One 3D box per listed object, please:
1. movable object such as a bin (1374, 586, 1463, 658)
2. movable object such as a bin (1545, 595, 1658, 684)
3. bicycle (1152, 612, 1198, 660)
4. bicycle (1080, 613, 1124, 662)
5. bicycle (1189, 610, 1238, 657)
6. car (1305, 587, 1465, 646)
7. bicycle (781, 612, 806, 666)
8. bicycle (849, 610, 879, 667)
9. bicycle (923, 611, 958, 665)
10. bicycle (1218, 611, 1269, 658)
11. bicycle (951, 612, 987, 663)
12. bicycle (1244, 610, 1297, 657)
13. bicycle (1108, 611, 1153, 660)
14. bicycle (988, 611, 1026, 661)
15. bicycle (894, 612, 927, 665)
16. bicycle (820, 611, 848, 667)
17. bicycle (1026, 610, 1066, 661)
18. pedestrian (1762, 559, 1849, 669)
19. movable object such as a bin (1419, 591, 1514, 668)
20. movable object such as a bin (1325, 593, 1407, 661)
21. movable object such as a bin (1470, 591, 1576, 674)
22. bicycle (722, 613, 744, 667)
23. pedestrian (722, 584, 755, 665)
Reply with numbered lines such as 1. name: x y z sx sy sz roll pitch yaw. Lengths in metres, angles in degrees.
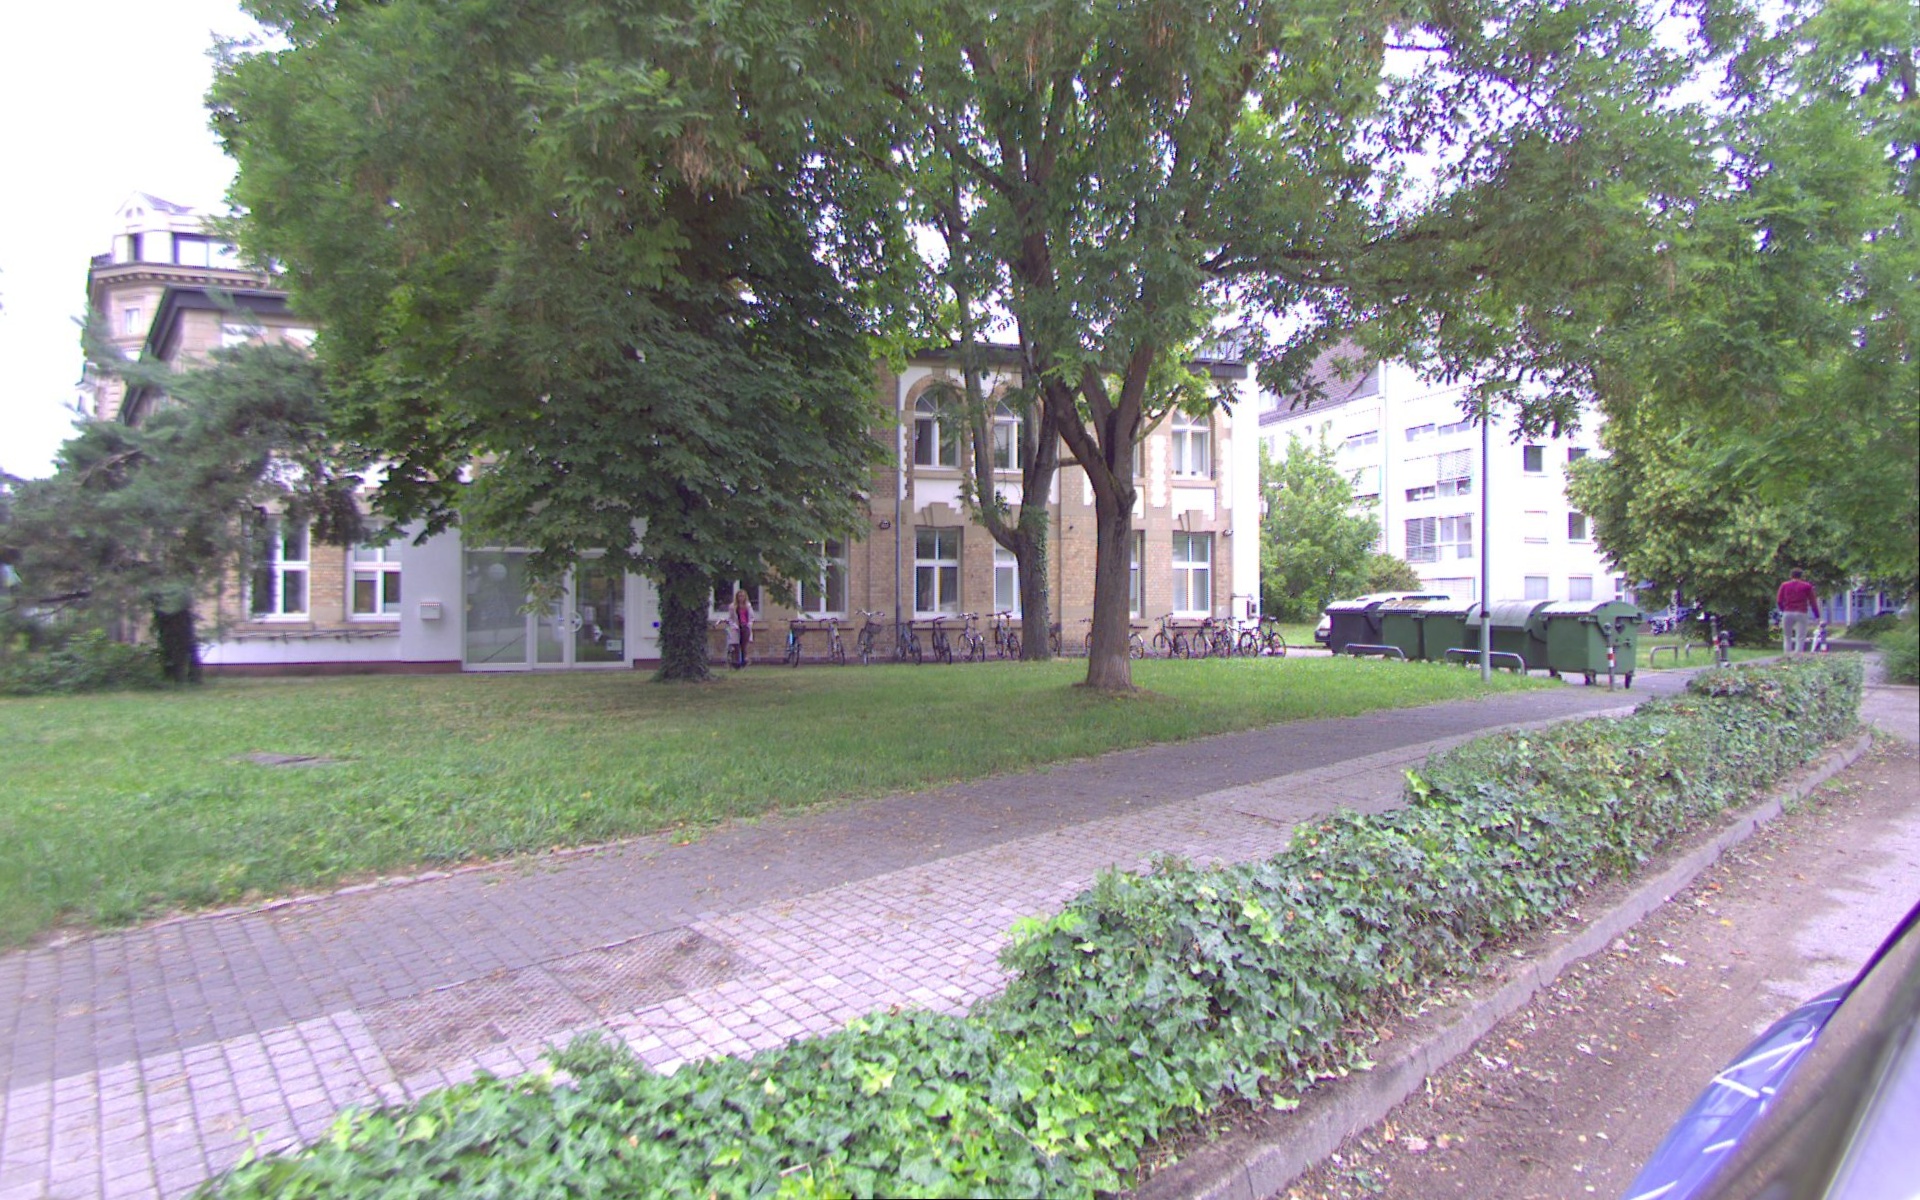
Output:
1. movable object such as a bin: 9.772 0.450 21.619 1.085 1.469 1.329 0 -1 -20
2. movable object such as a bin: 10.939 0.648 17.315 1.050 1.452 1.276 0 0 -6
3. bicycle: 5.299 0.859 25.034 0.451 1.129 1.747 0 0 -11
4. bicycle: 3.429 0.882 24.521 0.451 1.129 1.748 0 0 -13
5. bicycle: 6.317 0.813 25.308 0.451 1.129 1.748 0 0 -13
6. car: 14.283 0.567 34.090 4.673 1.898 1.904 0 -3 -13
7. bicycle: -3.699 0.834 22.411 0.451 1.129 1.748 0 0 -13
8. bicycle: -2.179 0.849 22.870 0.451 1.128 1.749 0 3 -13
9. bicycle: -0.474 0.854 23.424 0.451 1.128 1.749 0 2 -13
10. bicycle: 7.136 0.846 25.546 0.451 1.129 1.748 0 0 -13
11. bicycle: 0.205 0.851 23.705 0.451 1.129 1.748 0 0 -13
12. bicycle: 7.878 0.834 25.765 0.451 1.129 1.748 0 0 -14
13. bicycle: 4.145 0.847 24.716 0.451 1.129 1.748 0 0 -13
14. bicycle: 1.093 0.820 23.898 0.451 1.129 1.748 0 0 -13
15. bicycle: -1.156 0.864 23.291 0.451 1.128 1.748 0 1 -13
16. bicycle: -2.838 0.845 22.642 0.451 1.128 1.748 0 2 -13
17. bicycle: 2.033 0.819 24.114 0.451 1.129 1.748 0 0 -13
18. pedestrian: 16.531 0.259 19.808 1.176 2.090 0.796 0 -1 -19
19. movable object such as a bin: 10.102 0.570 20.222 1.085 1.469 1.297 0 -1 -20
20. movable object such as a bin: 9.216 0.597 23.012 1.085 1.469 1.365 0 -1 -20
21. movable object such as a bin: 10.375 0.580 18.685 1.085 1.469 1.288 0 -1 -20
22. bicycle: -4.970 0.848 22.113 0.451 1.129 1.748 0 0 -13
23. pedestrian: -4.472 0.489 20.441 0.614 1.607 0.605 0 -1 -15
